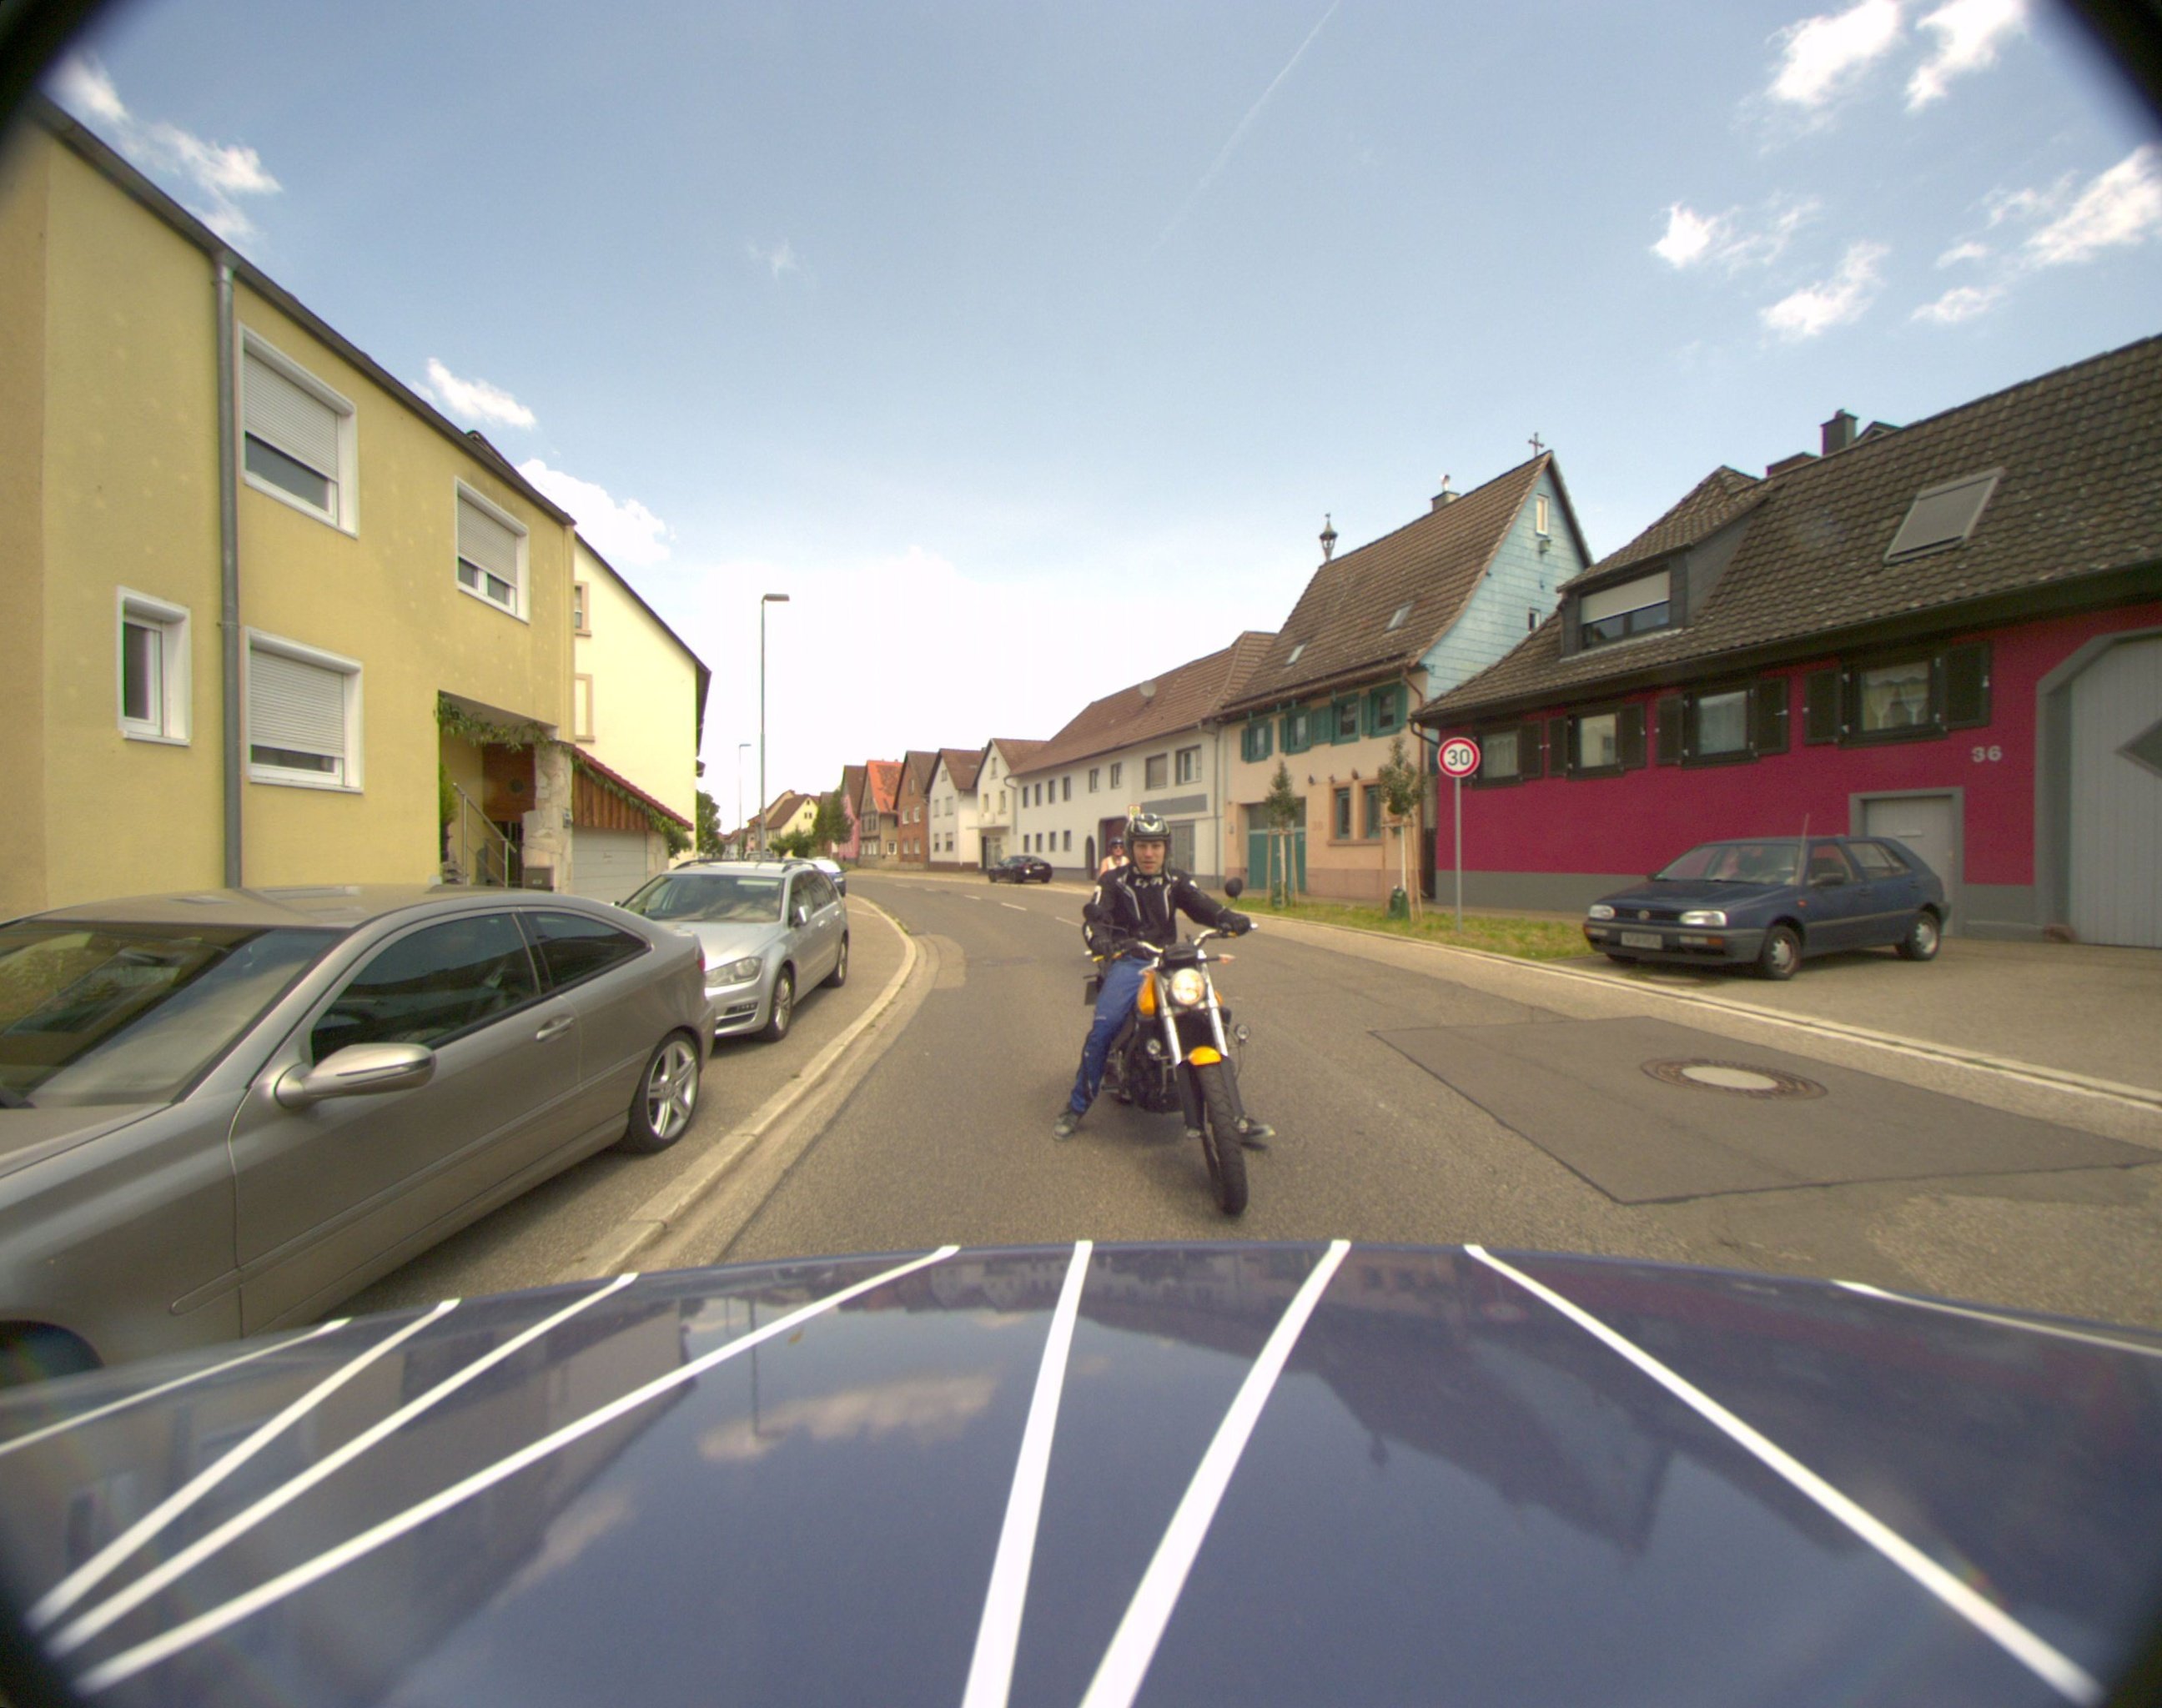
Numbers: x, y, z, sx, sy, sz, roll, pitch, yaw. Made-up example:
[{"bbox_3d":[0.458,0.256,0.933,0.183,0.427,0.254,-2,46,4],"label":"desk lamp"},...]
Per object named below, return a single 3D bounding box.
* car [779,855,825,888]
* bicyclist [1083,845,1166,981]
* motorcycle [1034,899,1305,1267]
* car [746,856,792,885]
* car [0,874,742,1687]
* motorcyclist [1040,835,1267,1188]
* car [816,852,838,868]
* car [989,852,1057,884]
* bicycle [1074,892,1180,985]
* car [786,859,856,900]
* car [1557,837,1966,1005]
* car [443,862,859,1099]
[{"bbox_3d":[-13.824,0.893,37.471,1.776,1.520,3.993,-1,-1,-25],"label":"car"},{"bbox_3d":[0.556,0.737,9.962,0.910,1.679,0.760,-2,2,-10],"label":"bicyclist"},{"bbox_3d":[0.354,0.944,3.958,0.985,1.234,2.103,-3,1,1],"label":"motorcycle"},{"bbox_3d":[-18.929,0.958,46.007,1.669,1.638,3.989,-3,1,-35],"label":"car"},{"bbox_3d":[-2.989,0.899,2.421,1.774,1.392,4.423,2,1,1],"label":"car"},{"bbox_3d":[0.340,0.713,3.851,1.000,1.591,0.799,-1,2,1],"label":"motorcyclist"},{"bbox_3d":[-27.177,0.607,81.202,1.687,1.521,3.491,-2,2,-26],"label":"car"},{"bbox_3d":[-2.970,0.689,37.795,1.812,1.412,4.541,-2,0,-26],"label":"car"},{"bbox_3d":[0.551,1.061,10.088,0.934,1.005,1.923,-2,0,-11],"label":"bicycle"},{"bbox_3d":[-10.322,0.955,29.958,1.731,1.378,3.989,-1,2,-32],"label":"car"},{"bbox_3d":[7.567,0.601,8.482,3.983,1.456,1.718,-2,1,-20],"label":"car"},{"bbox_3d":[-3.536,0.899,7.340,1.890,1.521,4.333,2,0,-6],"label":"car"}]
